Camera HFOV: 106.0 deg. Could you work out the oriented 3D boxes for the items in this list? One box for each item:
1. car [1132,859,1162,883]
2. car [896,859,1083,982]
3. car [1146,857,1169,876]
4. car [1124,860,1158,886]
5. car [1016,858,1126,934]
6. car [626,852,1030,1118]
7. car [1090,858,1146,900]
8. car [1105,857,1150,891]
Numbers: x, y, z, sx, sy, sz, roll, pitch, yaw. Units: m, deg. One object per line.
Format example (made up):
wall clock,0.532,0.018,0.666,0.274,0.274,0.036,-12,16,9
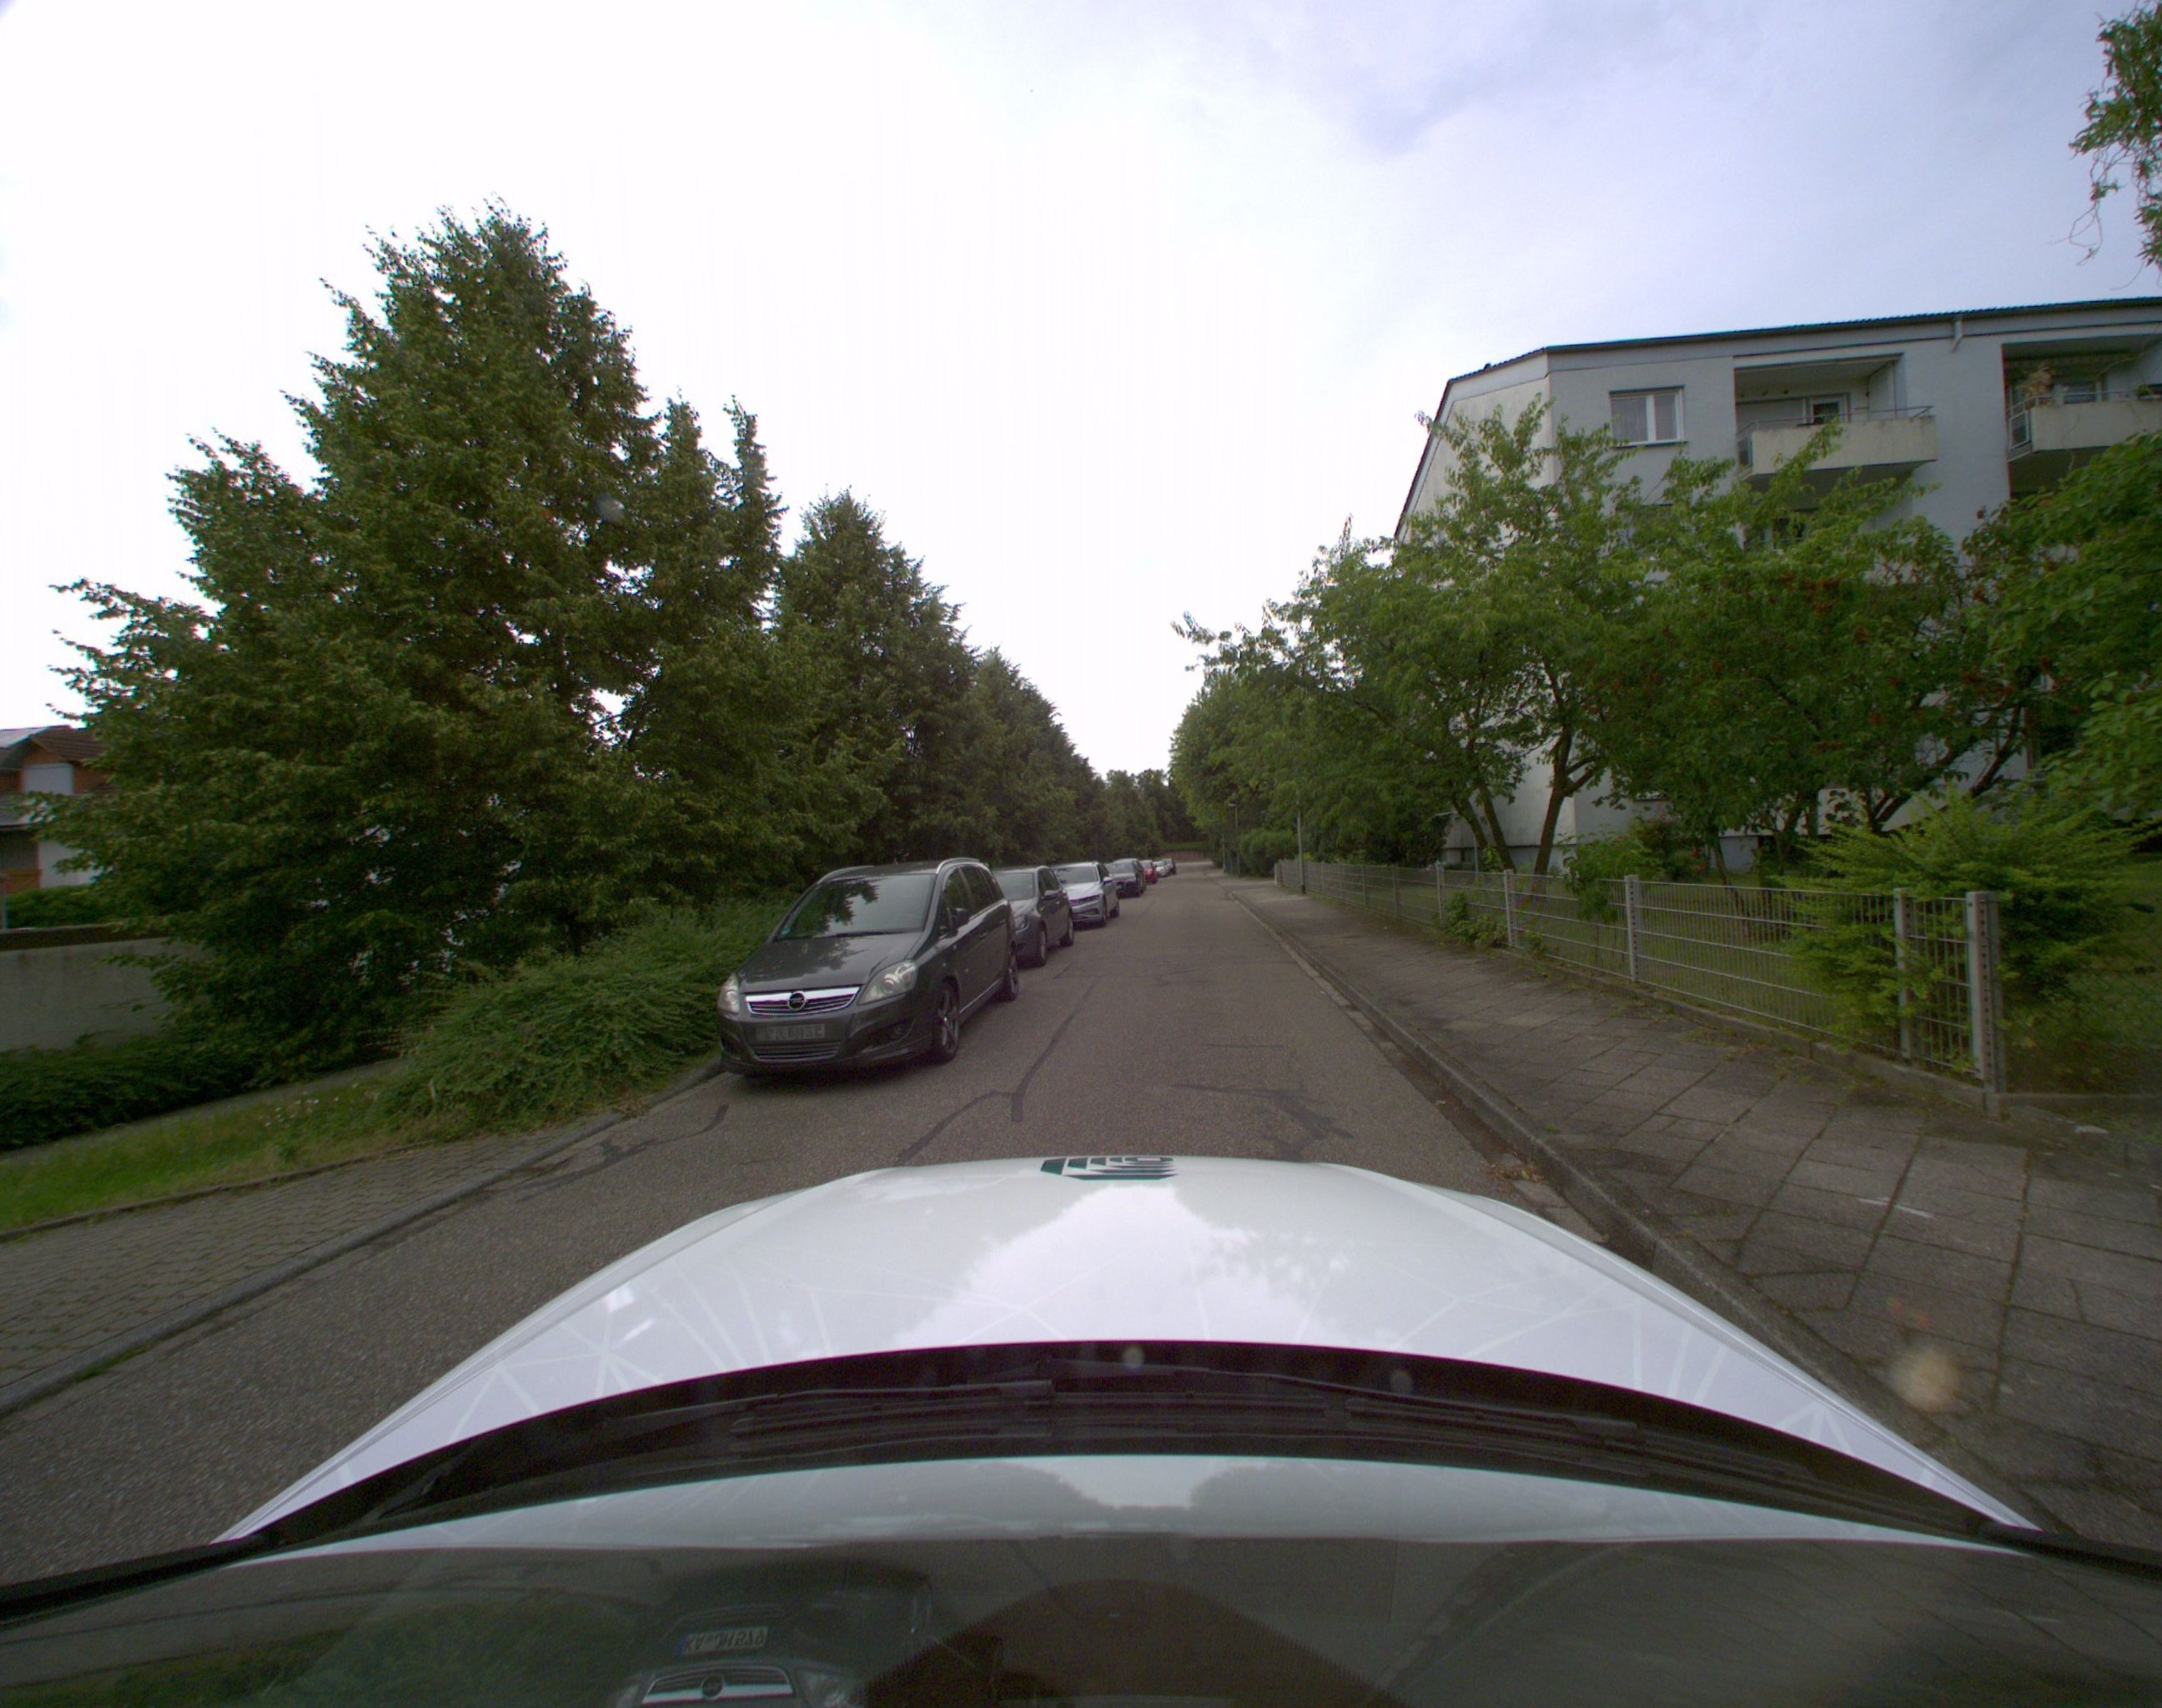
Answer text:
car,4.693,1.187,57.768,1.742,1.519,4.009,-5,-1,8
car,-1.239,0.912,13.048,1.747,1.478,4.317,-5,-1,9
car,6.896,1.077,73.255,1.742,1.519,4.009,-5,-1,8
car,3.819,1.155,51.002,1.742,1.425,4.009,-5,-1,8
car,-0.095,0.901,19.285,1.766,1.428,4.490,-5,-1,9
car,-1.803,0.859,7.542,1.748,1.593,4.561,-5,-1,6
car,1.530,0.960,32.555,1.742,1.425,4.009,-5,-1,8
car,2.291,0.927,39.497,1.742,1.425,4.009,-5,-1,8
